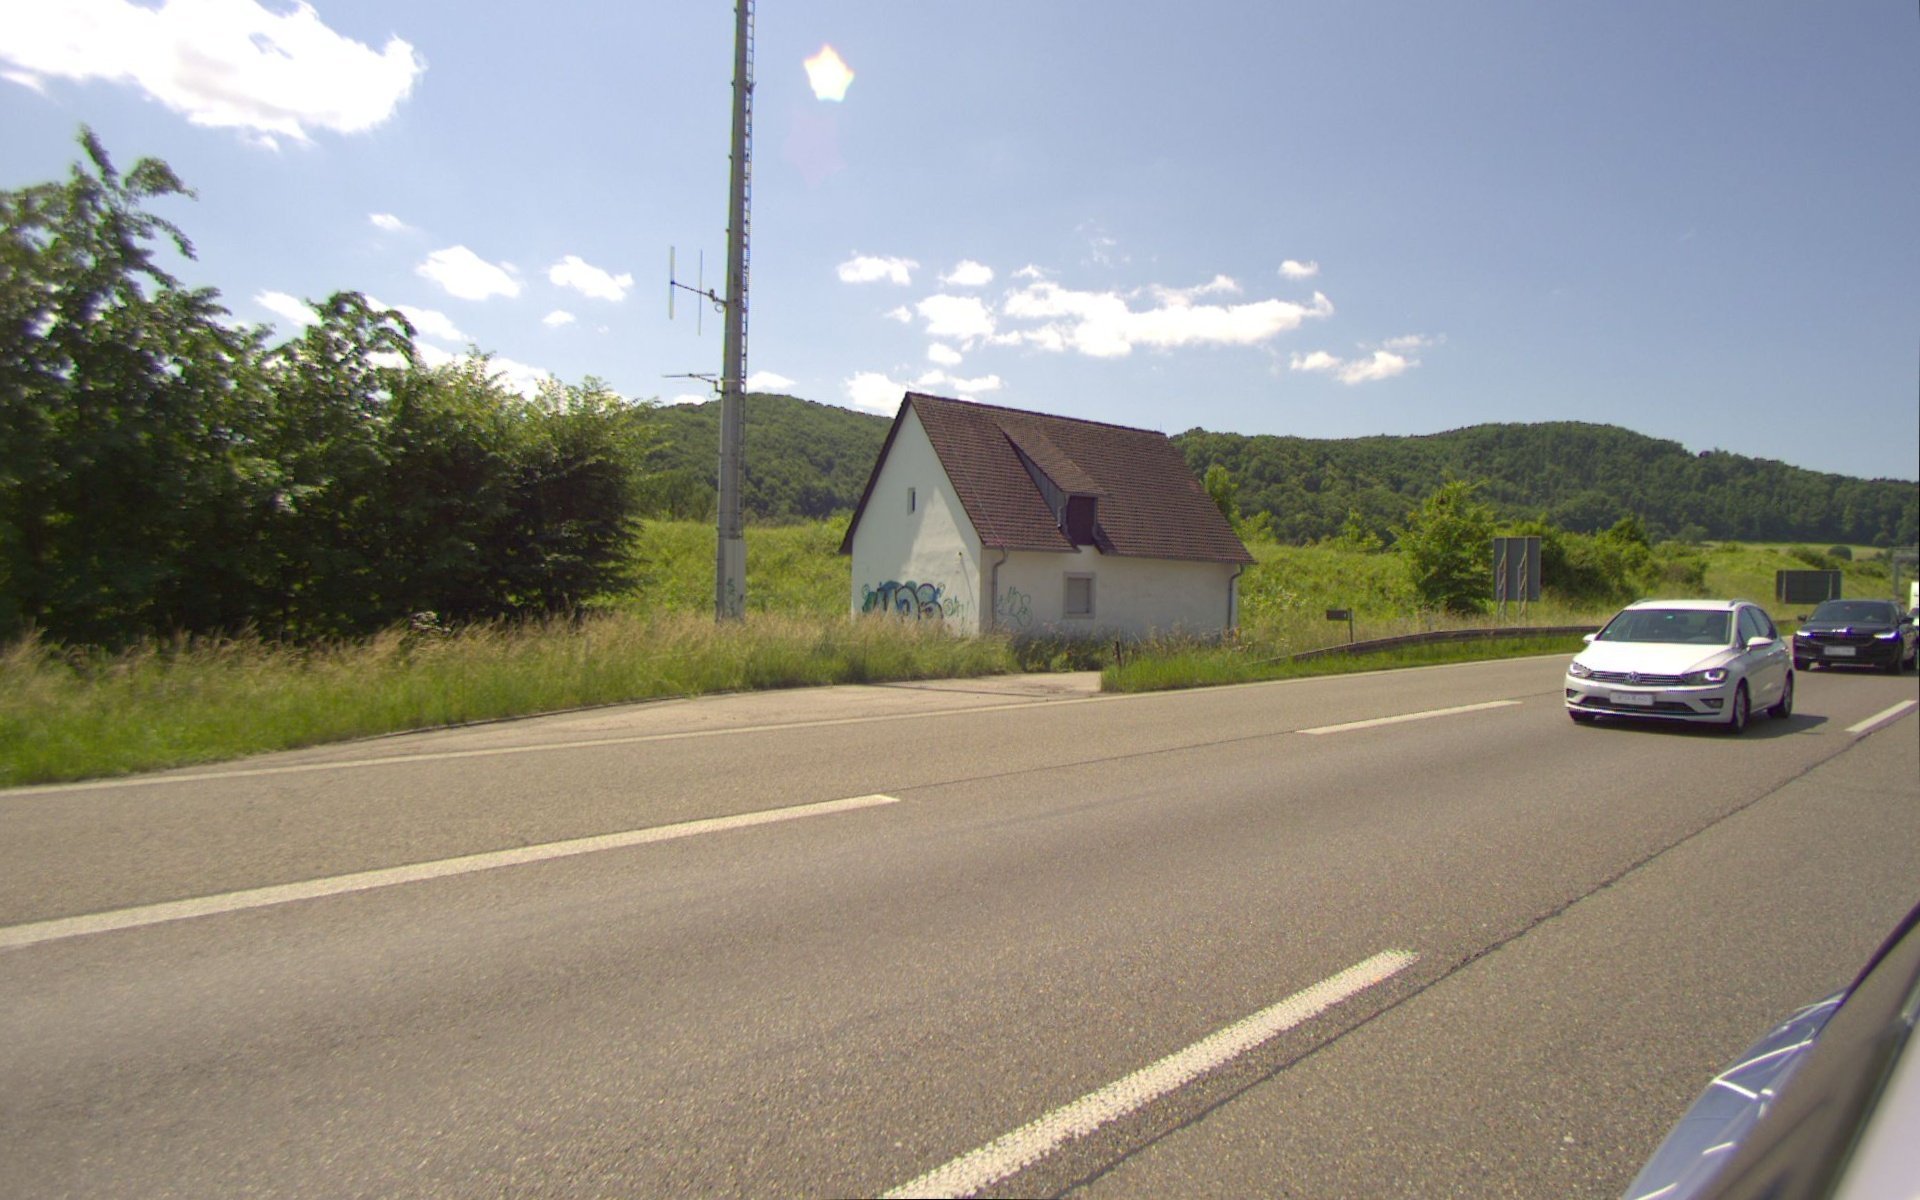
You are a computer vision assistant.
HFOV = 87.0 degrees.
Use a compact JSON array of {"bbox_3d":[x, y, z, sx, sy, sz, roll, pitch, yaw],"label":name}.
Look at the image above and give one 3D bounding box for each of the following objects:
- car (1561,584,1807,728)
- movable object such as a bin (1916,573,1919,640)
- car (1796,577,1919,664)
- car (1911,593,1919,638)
[{"bbox_3d":[9.345,0.601,12.949,3.985,1.560,1.775,0,0,-42],"label":"car"},{"bbox_3d":[41.374,0.254,41.480,6.590,2.665,2.480,0,0,-40],"label":"movable object such as a bin"},{"bbox_3d":[20.830,0.418,23.142,4.097,1.794,1.893,1,1,-40],"label":"car"},{"bbox_3d":[36.121,0.571,36.819,3.929,1.603,1.820,0,0,-40],"label":"car"}]
